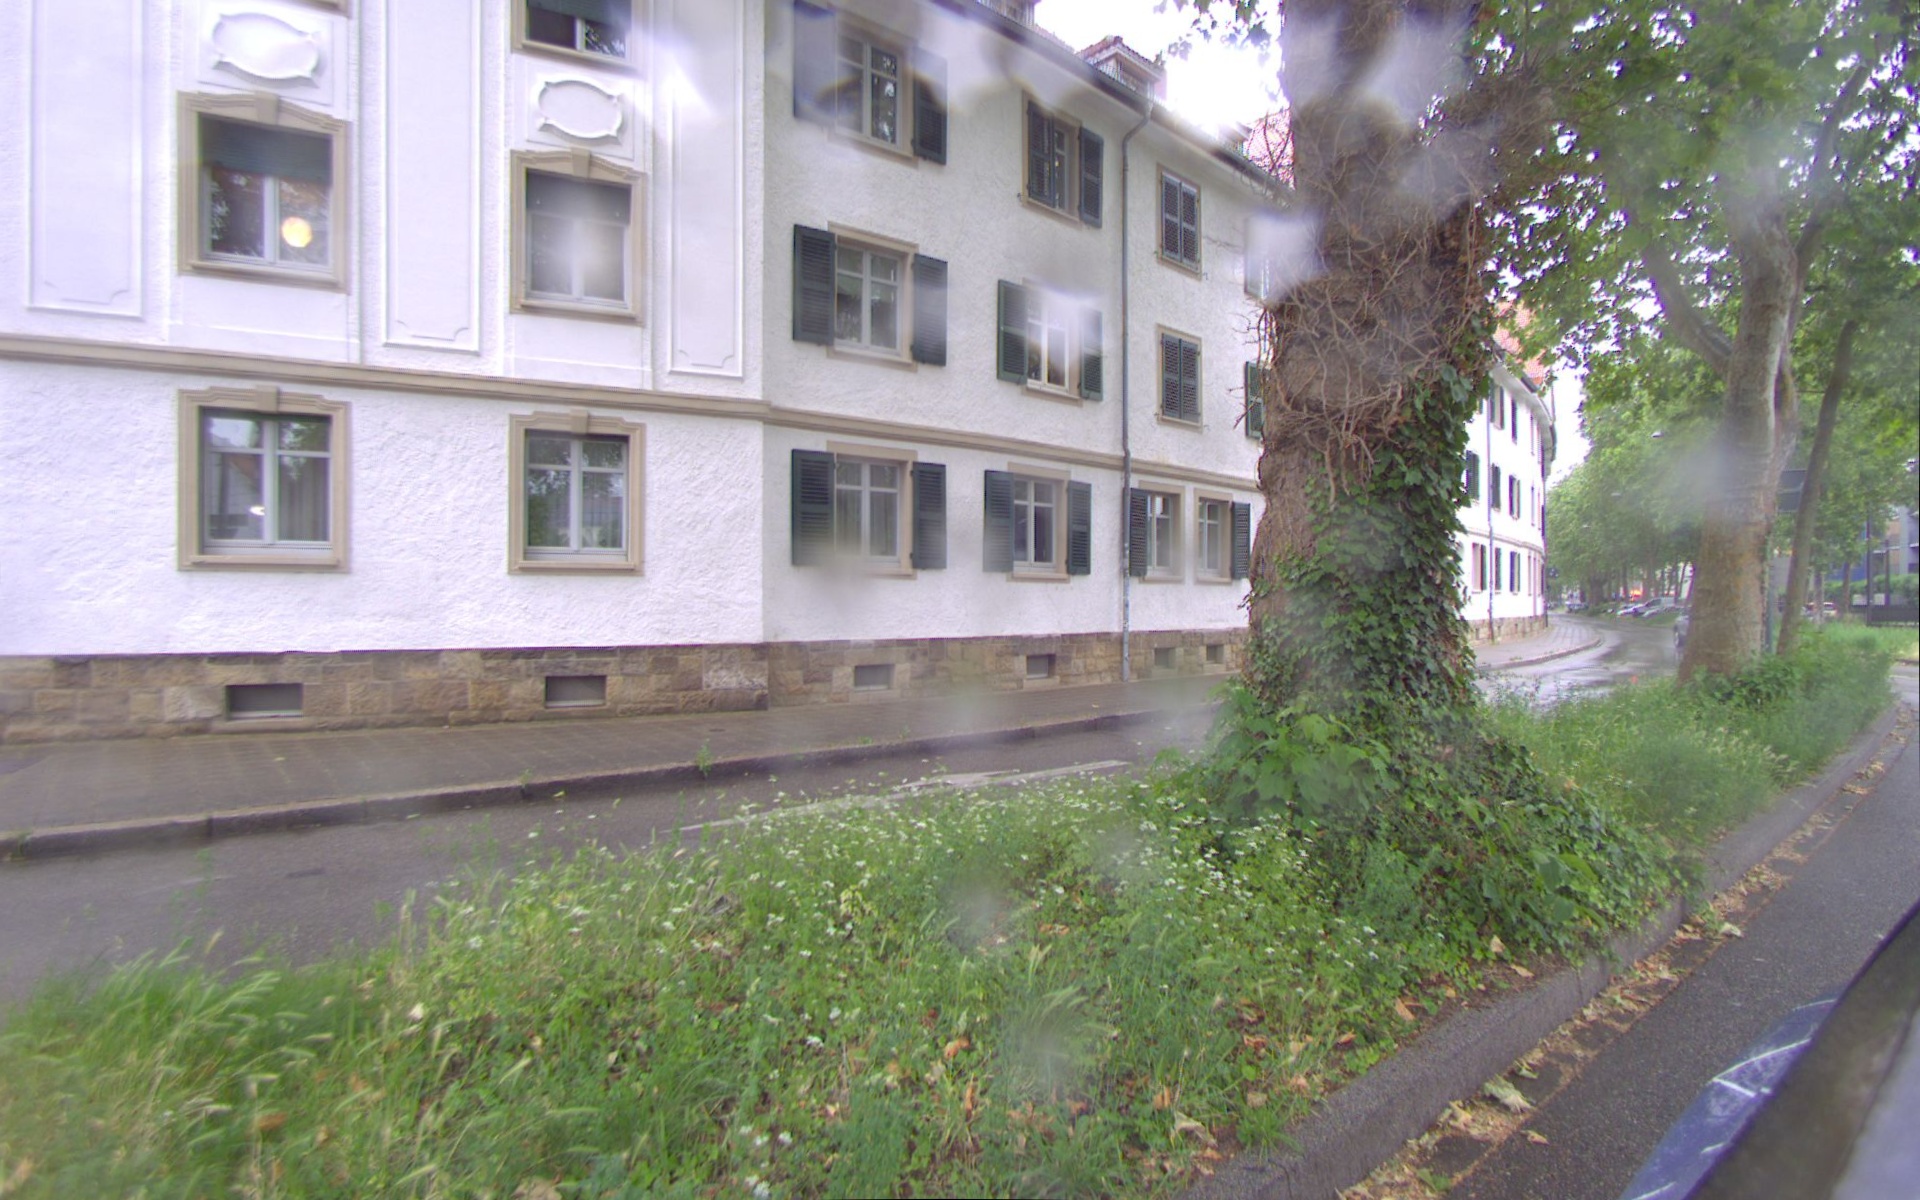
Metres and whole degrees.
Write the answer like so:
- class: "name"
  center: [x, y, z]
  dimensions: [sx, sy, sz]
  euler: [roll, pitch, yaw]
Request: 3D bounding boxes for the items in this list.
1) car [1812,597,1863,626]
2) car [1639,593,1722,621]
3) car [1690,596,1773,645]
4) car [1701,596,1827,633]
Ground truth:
- class: "car"
  center: [57.791, 0.720, 66.717]
  dimensions: [1.677, 1.745, 3.656]
  euler: [2, 1, 28]
- class: "car"
  center: [56.644, 0.520, 79.624]
  dimensions: [1.960, 2.039, 4.899]
  euler: [1, 1, -30]
- class: "car"
  center: [27.094, 0.659, 35.661]
  dimensions: [1.837, 1.616, 4.170]
  euler: [0, 0, 31]
- class: "car"
  center: [37.885, 0.631, 47.775]
  dimensions: [1.892, 1.560, 4.236]
  euler: [0, 1, -30]
